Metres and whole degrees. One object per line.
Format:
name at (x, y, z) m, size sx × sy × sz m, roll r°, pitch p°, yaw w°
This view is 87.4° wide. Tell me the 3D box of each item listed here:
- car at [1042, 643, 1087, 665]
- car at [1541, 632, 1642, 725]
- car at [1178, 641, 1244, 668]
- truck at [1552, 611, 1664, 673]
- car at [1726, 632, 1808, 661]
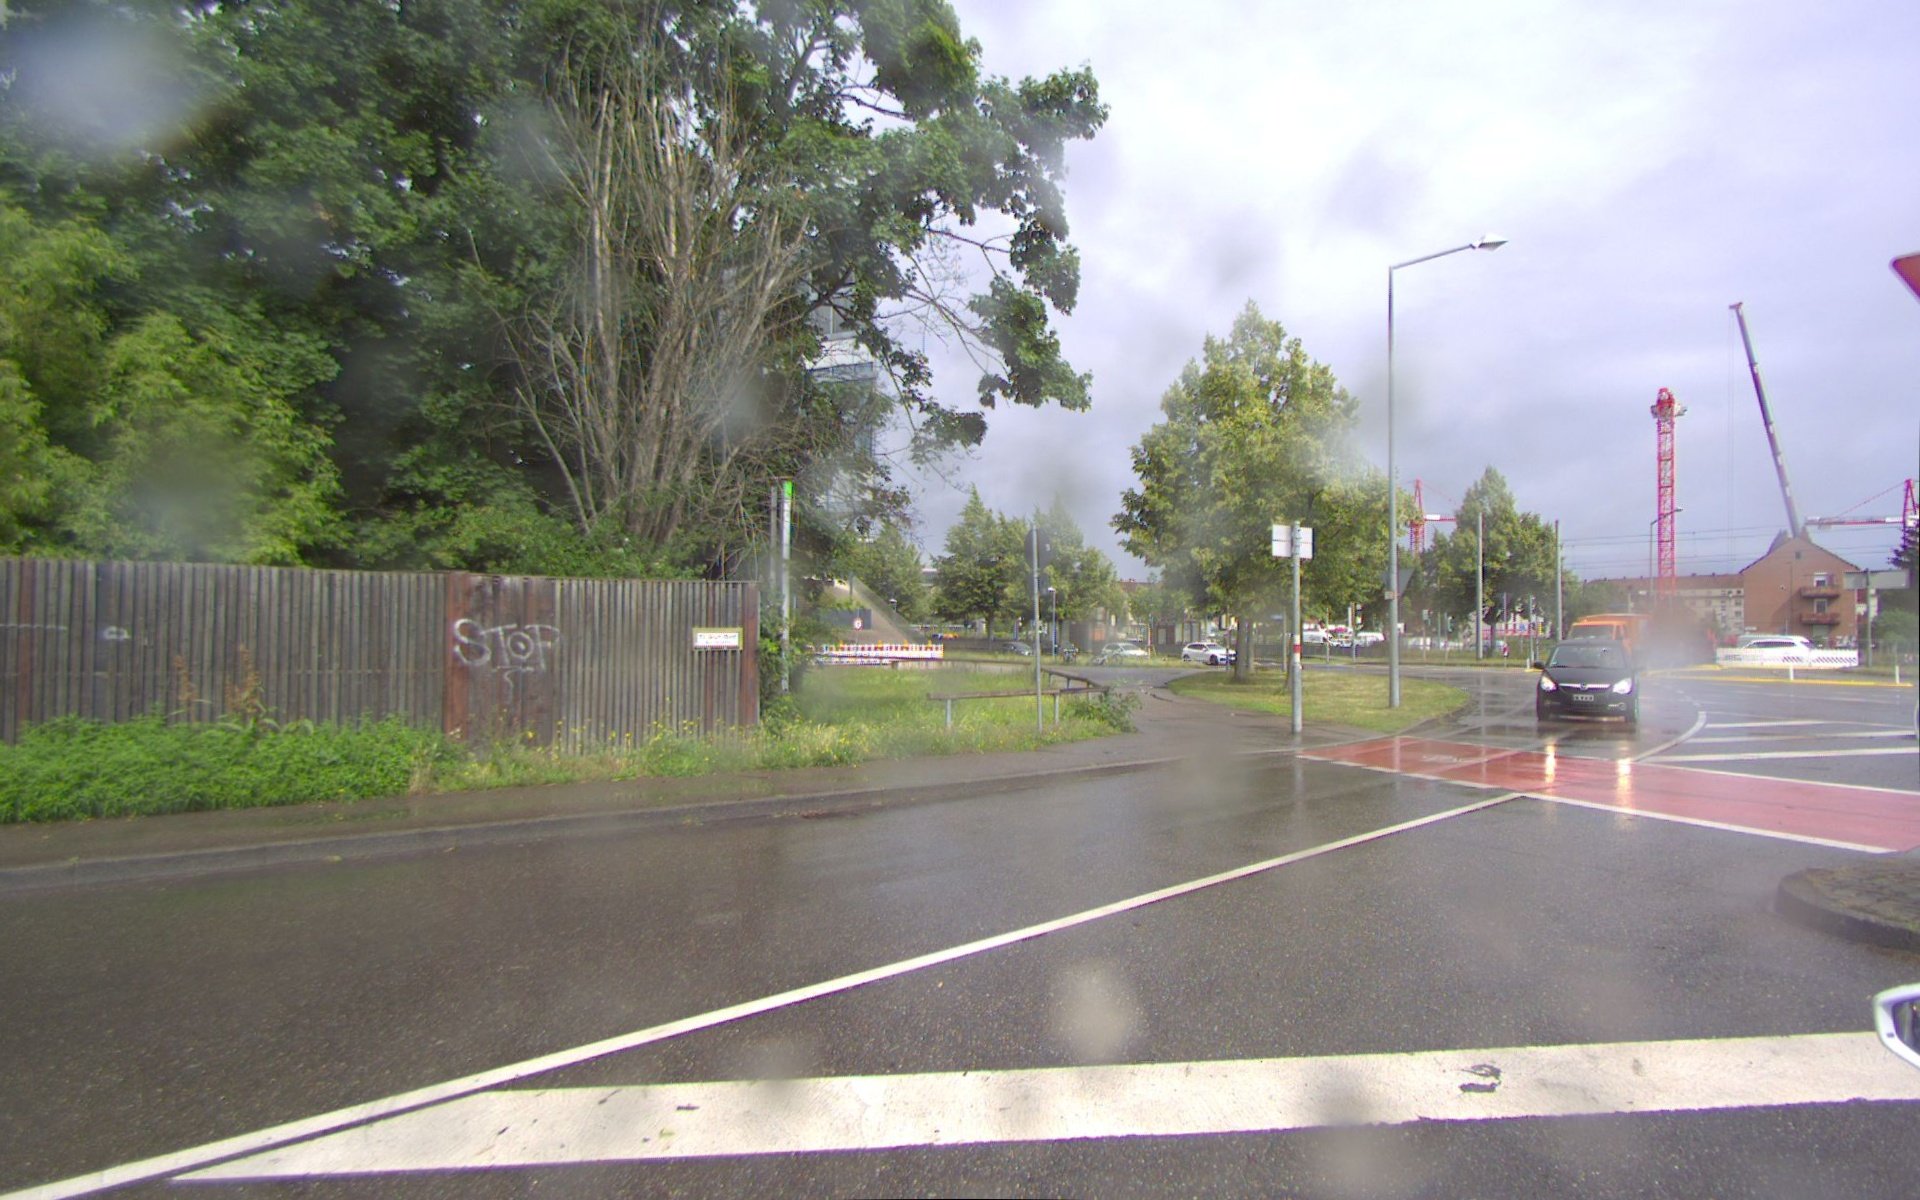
car at (8.624, 4.433, 83.130) m, size 1.610 × 1.649 × 4.380 m, roll 1°, pitch -2°, yaw -27°
car at (12.758, 1.507, 20.455) m, size 1.542 × 1.670 × 3.648 m, roll 0°, pitch -2°, yaw 29°
car at (16.509, 3.537, 66.242) m, size 1.613 × 1.649 × 4.373 m, roll 1°, pitch -2°, yaw -32°
truck at (30.074, 1.922, 46.491) m, size 7.029 × 2.685 × 2.304 m, roll 2°, pitch -2°, yaw -39°
car at (47.807, 2.735, 59.575) m, size 3.438 × 1.605 × 1.567 m, roll 0°, pitch -1°, yaw 22°
